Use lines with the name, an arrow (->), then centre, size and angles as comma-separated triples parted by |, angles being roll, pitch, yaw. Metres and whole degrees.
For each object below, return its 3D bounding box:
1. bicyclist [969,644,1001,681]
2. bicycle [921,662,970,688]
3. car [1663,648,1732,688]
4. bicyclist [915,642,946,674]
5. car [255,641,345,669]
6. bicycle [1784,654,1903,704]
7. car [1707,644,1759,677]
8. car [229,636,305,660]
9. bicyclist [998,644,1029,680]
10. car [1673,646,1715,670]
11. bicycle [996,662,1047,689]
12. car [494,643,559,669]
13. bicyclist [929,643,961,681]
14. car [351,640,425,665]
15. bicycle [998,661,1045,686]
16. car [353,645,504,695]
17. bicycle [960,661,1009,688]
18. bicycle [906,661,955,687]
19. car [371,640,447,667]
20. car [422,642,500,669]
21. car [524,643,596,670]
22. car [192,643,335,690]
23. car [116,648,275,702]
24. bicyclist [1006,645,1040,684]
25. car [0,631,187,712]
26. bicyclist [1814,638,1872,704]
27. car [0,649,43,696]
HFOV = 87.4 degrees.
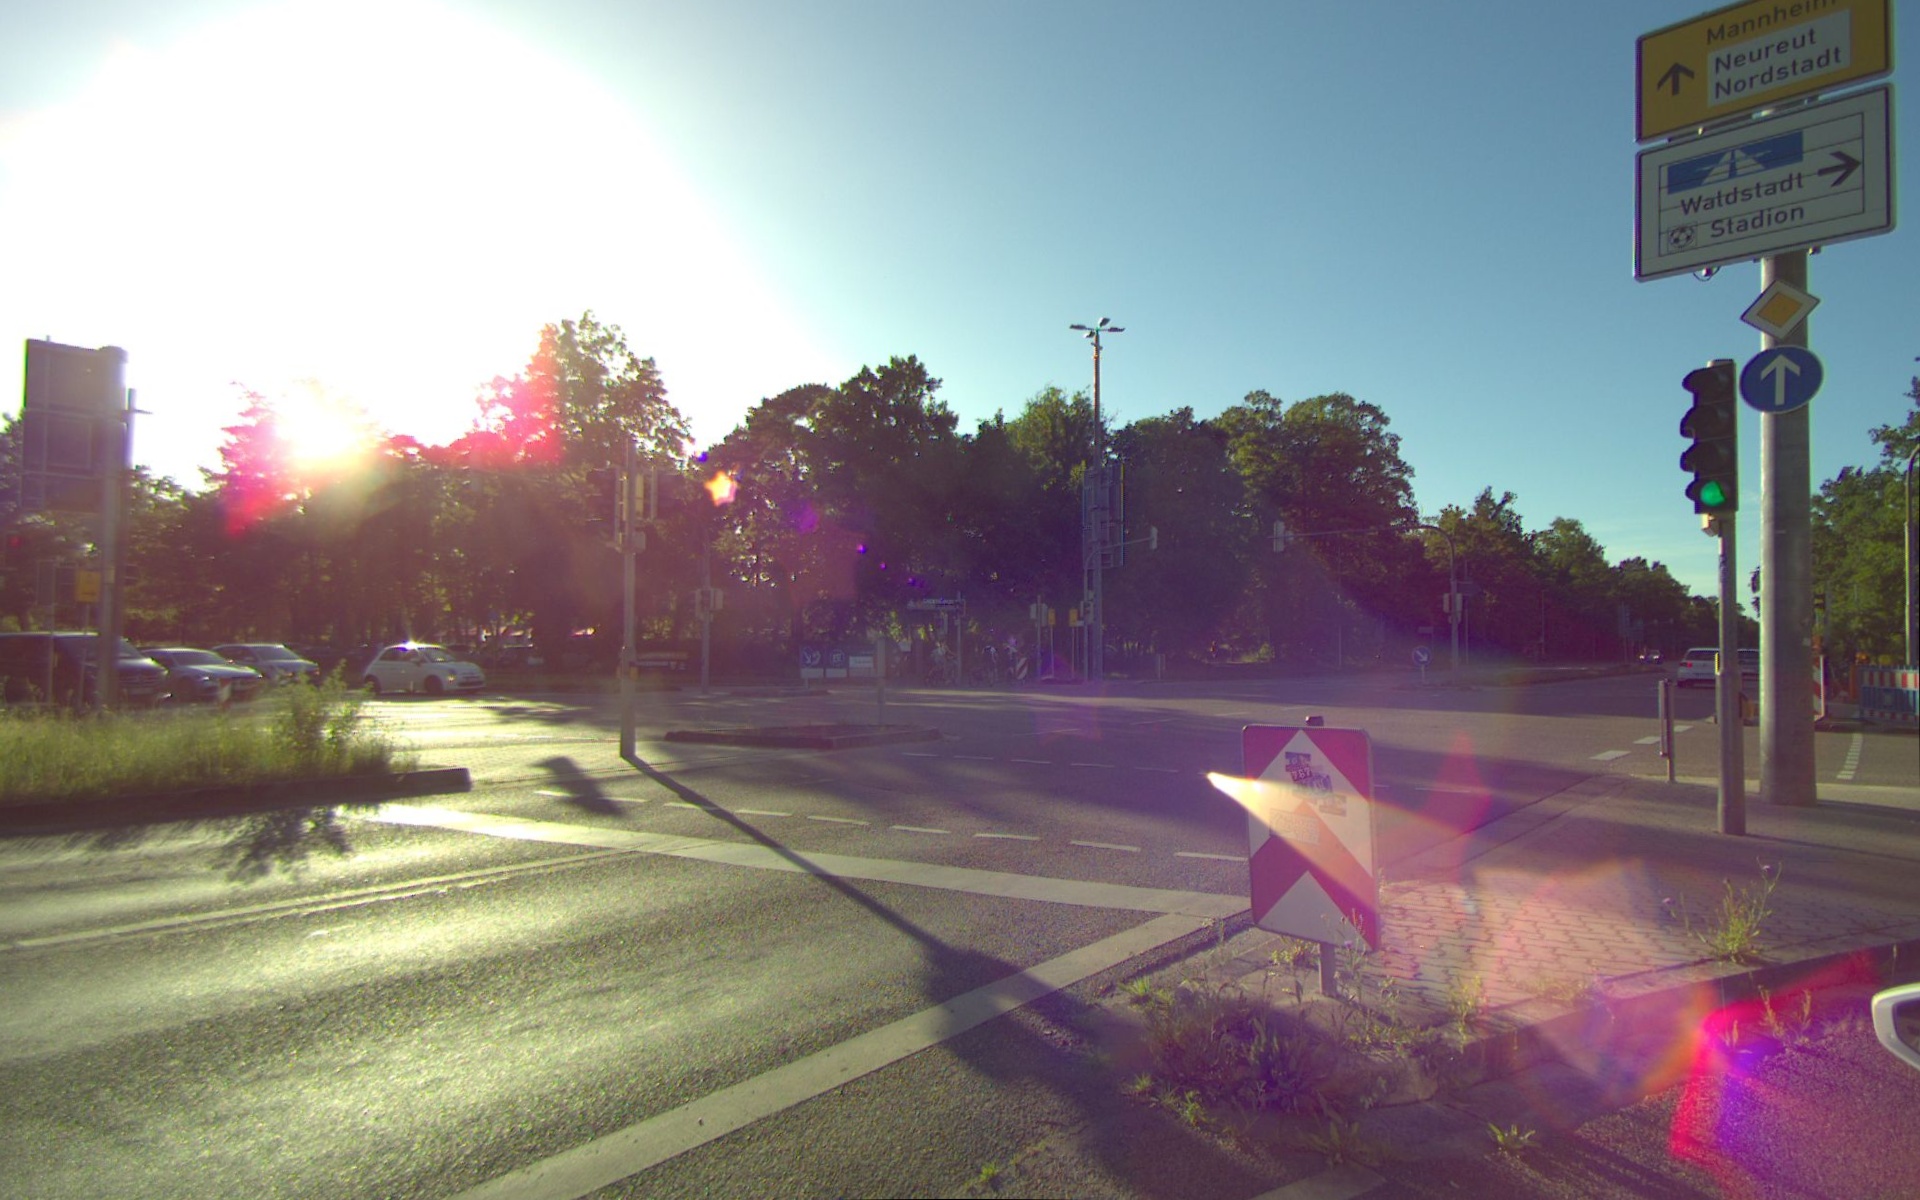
bicyclist -> 0.929, 2.313, 37.319 | 0.984, 1.373, 0.708 | 3, -3, -44
bicycle -> -0.529, 2.792, 37.557 | 1.898, 0.926, 0.708 | 3, -3, -44
car -> 27.929, 2.531, 37.983 | 1.917, 1.433, 3.983 | -2, -3, 39
bicyclist -> -1.120, 2.210, 38.263 | 0.984, 1.208, 0.708 | 3, -3, -44
car -> -39.100, 3.244, 59.586 | 1.907, 1.640, 3.996 | -1, -3, 27
bicycle -> 27.022, 2.398, 30.760 | 2.586, 1.401, 0.969 | 1, -1, 11
car -> 38.948, 3.035, 50.577 | 1.969, 1.556, 3.983 | -2, -3, 39
car -> -47.816, 3.292, 69.390 | 1.782, 1.620, 3.964 | -1, -3, 30
bicyclist -> 2.064, 2.363, 38.485 | 0.984, 1.359, 0.708 | 3, -3, -44
car -> 48.468, 3.809, 66.315 | 1.843, 1.463, 3.978 | -1, -3, 43
bicycle -> 2.215, 2.697, 35.959 | 1.898, 0.926, 0.708 | 3, -3, -44
car -> -27.145, 3.489, 63.029 | 1.778, 1.620, 3.502 | 0, -2, 21
bicyclist -> -0.553, 2.303, 37.554 | 0.984, 1.408, 0.704 | 3, -3, -44
car -> -38.837, 3.537, 68.289 | 1.782, 1.620, 3.964 | -1, -3, 30
bicycle -> 2.388, 2.826, 38.786 | 1.898, 0.926, 0.708 | 3, -3, -44
car -> -15.902, 2.056, 30.095 | 3.724, 1.407, 1.929 | 0, -3, 18
bicycle -> 0.928, 2.753, 37.307 | 1.898, 0.926, 0.708 | 3, -3, -44
bicycle -> -1.123, 2.810, 38.239 | 1.898, 0.926, 0.708 | 2, -3, -44
car -> -35.486, 3.433, 64.796 | 1.782, 1.620, 3.964 | -1, -3, 30
car -> -31.903, 3.519, 64.330 | 1.782, 1.620, 4.143 | -1, -3, 30
car -> -24.731, 3.481, 62.283 | 1.778, 1.620, 4.197 | 0, -2, 20
car -> -22.272, 2.110, 32.172 | 3.724, 1.407, 1.855 | 0, -3, 18
car -> -21.308, 2.051, 28.021 | 3.724, 1.407, 1.649 | 0, -3, 18
bicyclist -> 2.261, 2.301, 36.012 | 0.984, 1.356, 0.708 | 3, -3, -44
car -> -21.930, 1.720, 24.900 | 4.835, 1.853, 1.929 | 0, -3, 18
bicyclist -> 27.034, 2.148, 30.772 | 0.995, 1.955, 0.969 | 1, -1, 11
car -> -30.730, 2.225, 31.065 | 3.724, 1.407, 1.855 | 0, -3, 18
